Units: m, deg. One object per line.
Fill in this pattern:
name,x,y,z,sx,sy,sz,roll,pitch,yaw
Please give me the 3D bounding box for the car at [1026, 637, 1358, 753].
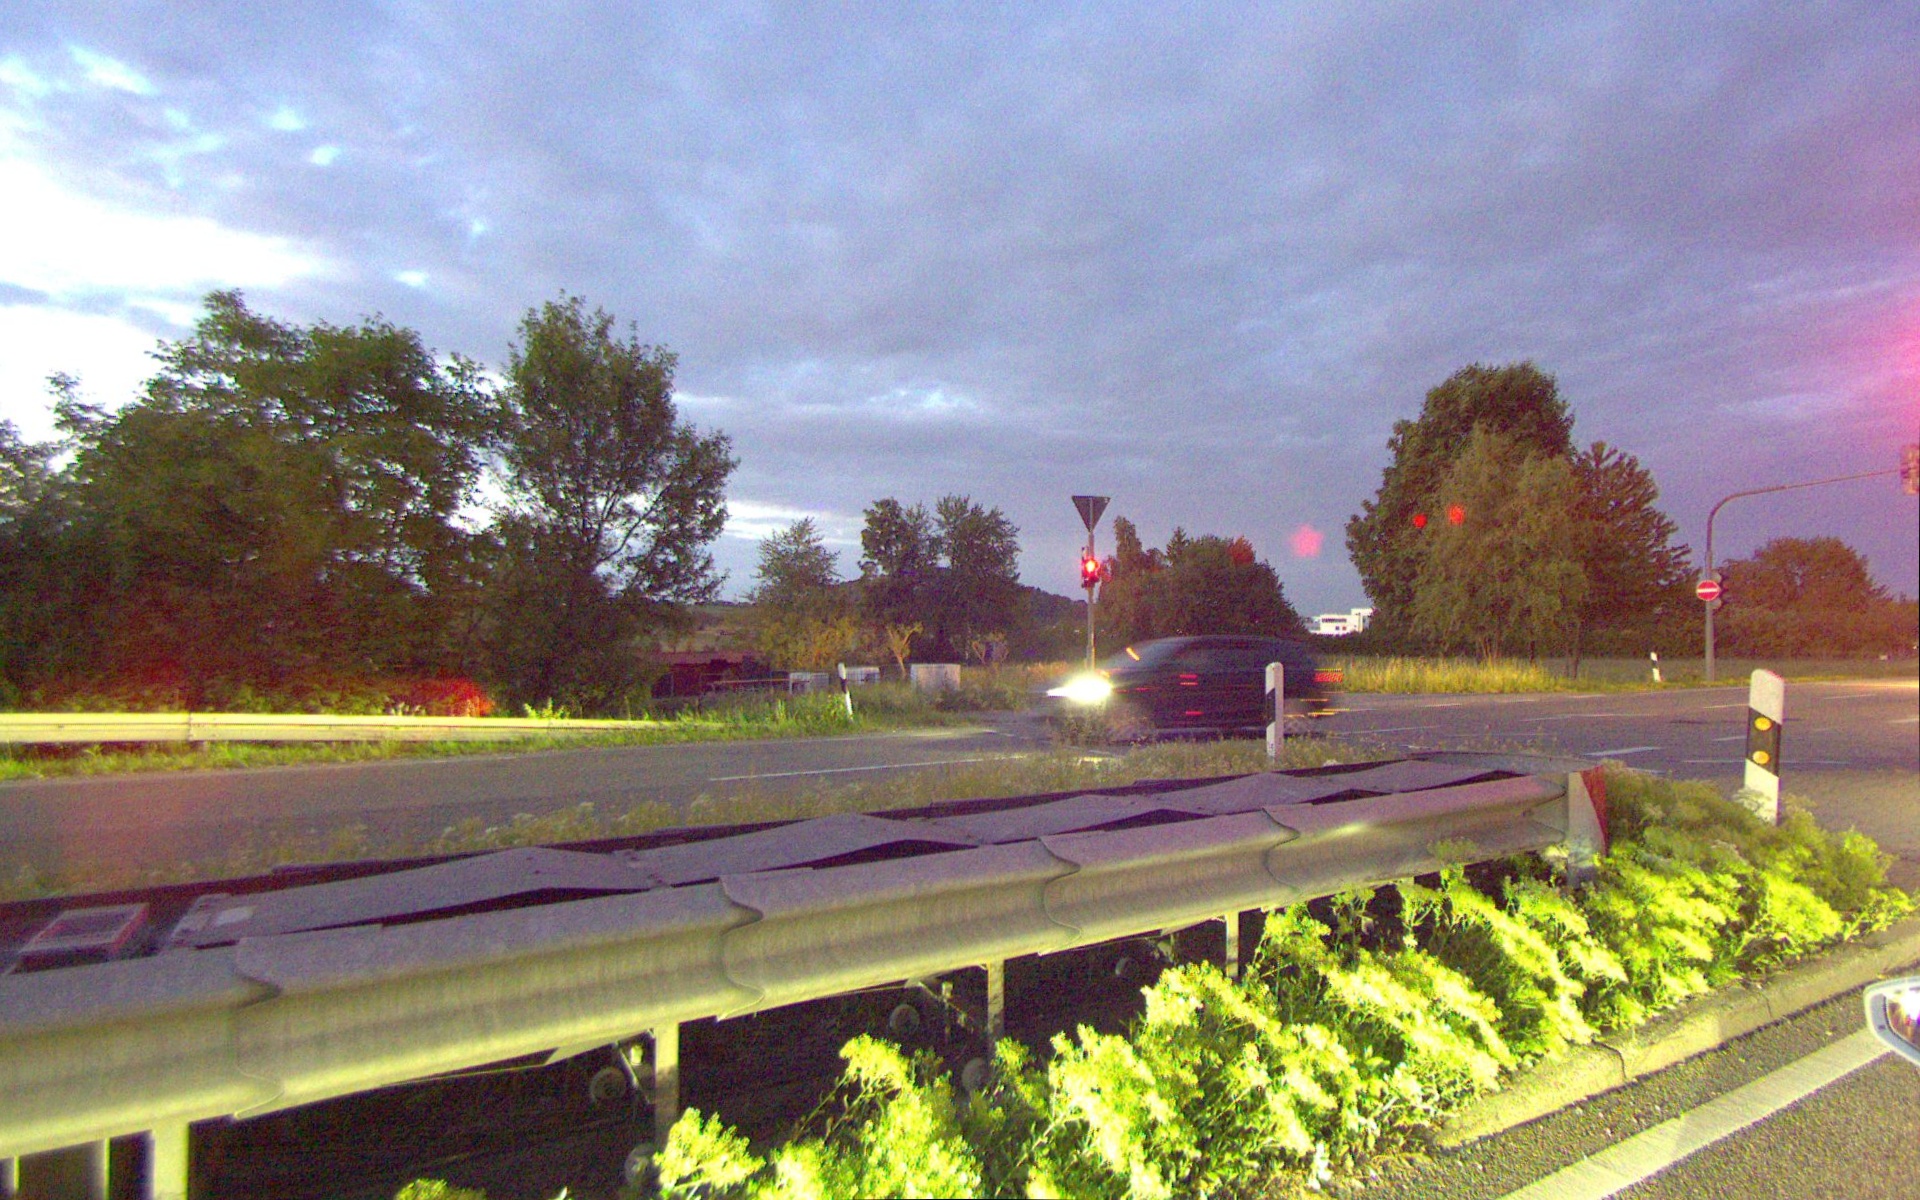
car,3.363,1.300,14.655,4.517,1.524,1.628,1,-2,-17
